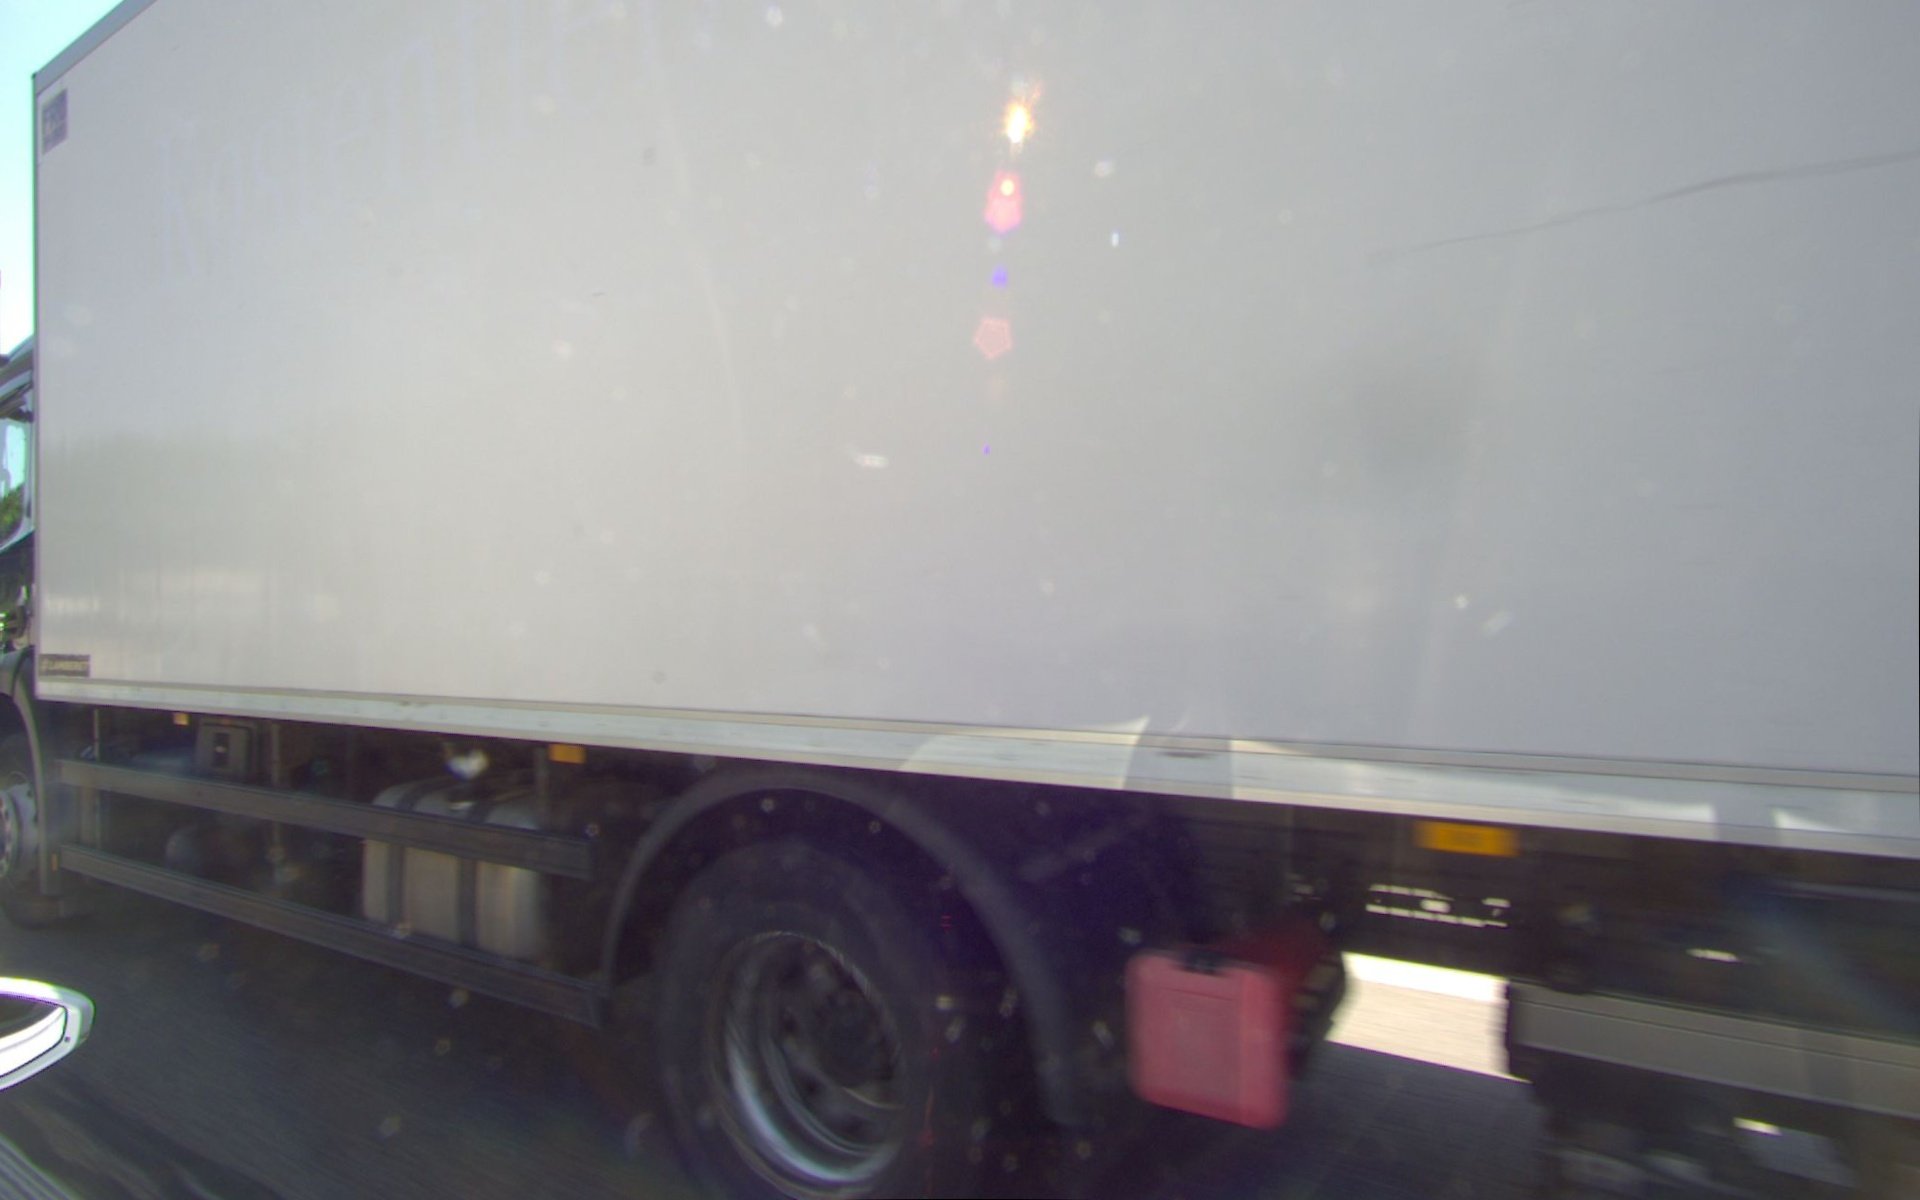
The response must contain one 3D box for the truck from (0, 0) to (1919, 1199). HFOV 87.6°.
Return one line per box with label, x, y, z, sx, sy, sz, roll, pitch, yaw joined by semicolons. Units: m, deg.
truck;-1.401;-0.439;4.192;9.639;3.929;2.681;-1;2;32
